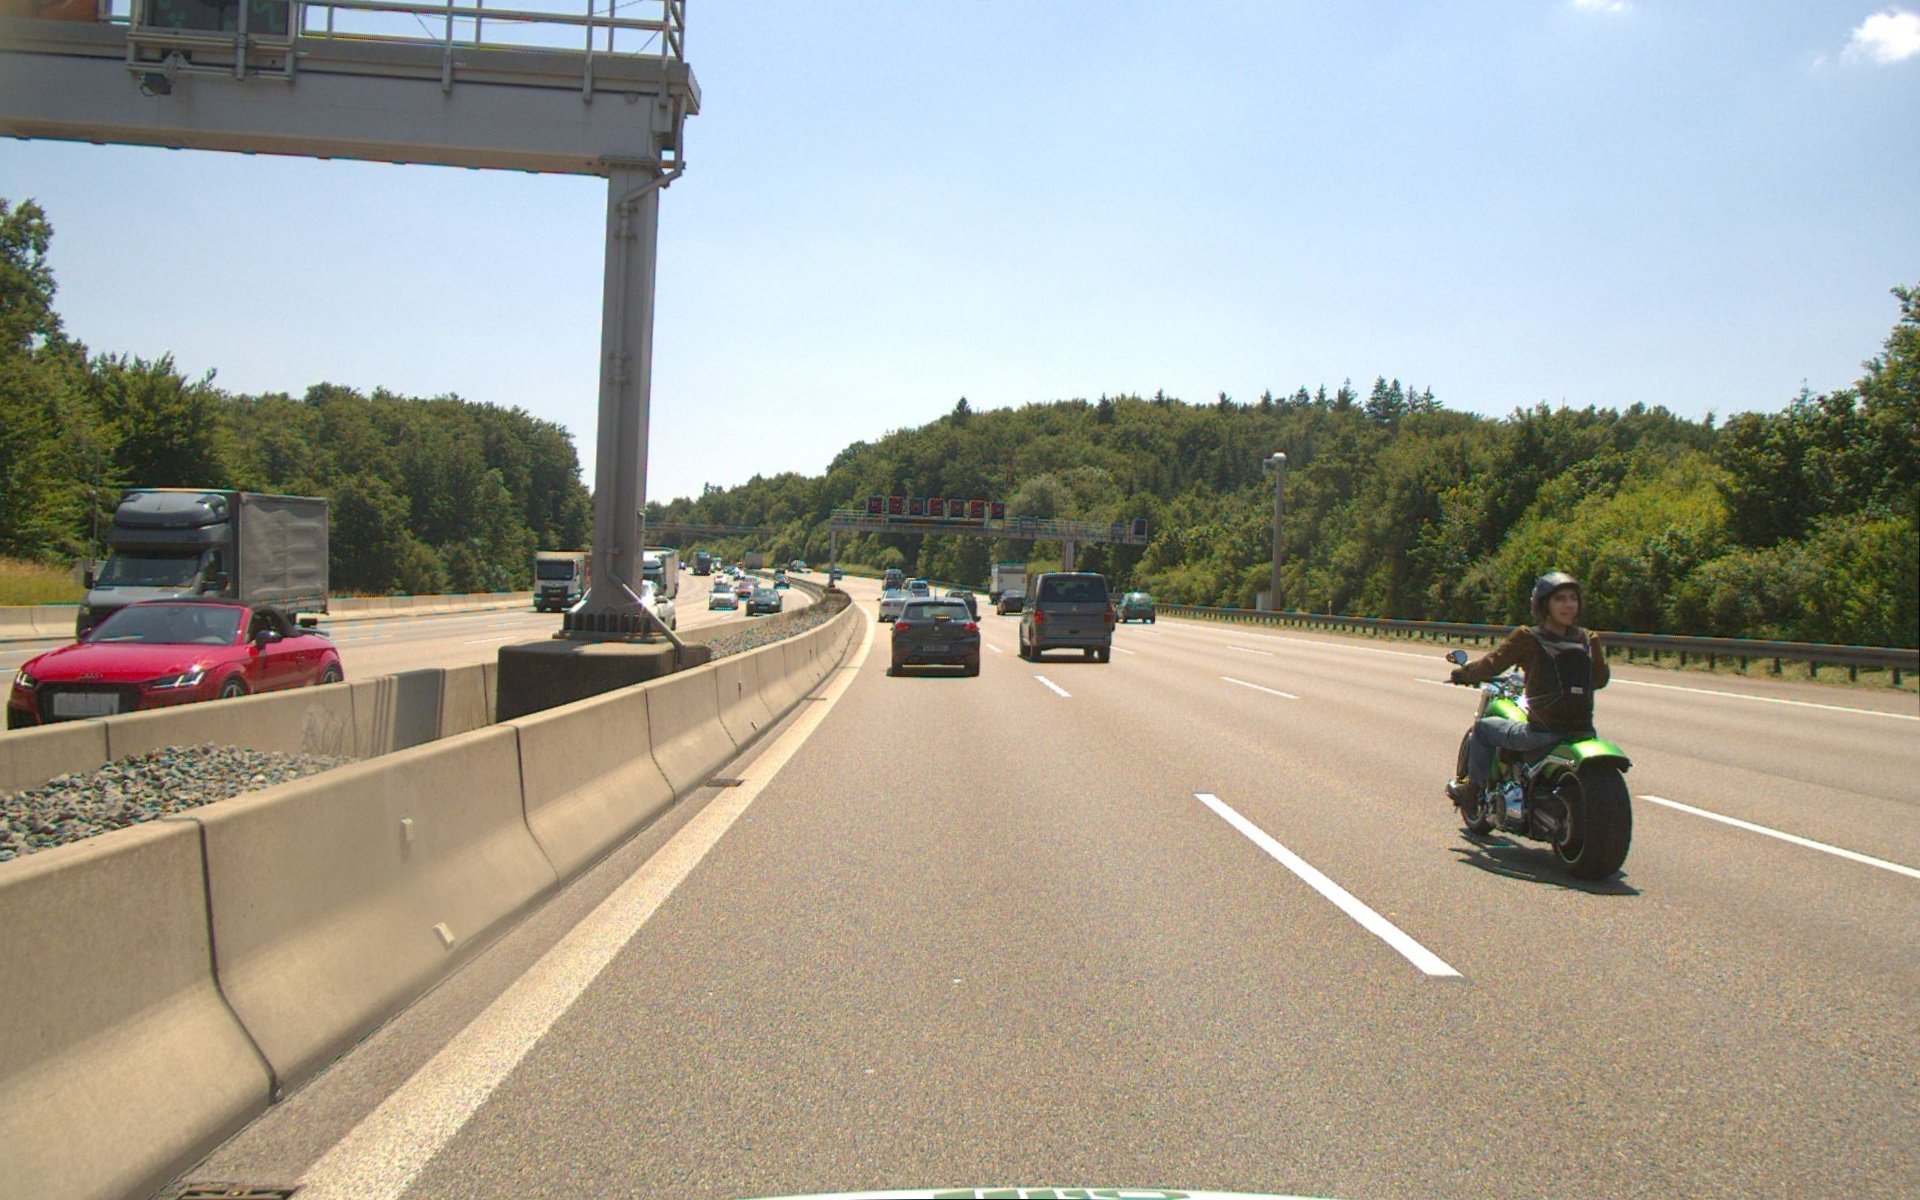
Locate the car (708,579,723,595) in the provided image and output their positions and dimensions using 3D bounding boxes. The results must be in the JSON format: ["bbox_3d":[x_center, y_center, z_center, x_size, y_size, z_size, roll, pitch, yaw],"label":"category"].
[{"bbox_3d":[-32.135,-1.686,217.296,1.956,2.049,3.993,0,0,-8],"label":"car"}]

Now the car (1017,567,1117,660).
[{"bbox_3d":[2.474,0.291,39.349,1.923,2.069,5.082,0,0,-1],"label":"car"}]

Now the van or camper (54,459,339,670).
[{"bbox_3d":[-15.049,-0.636,33.321,2.381,3.742,7.755,0,0,-2],"label":"van or camper"}]

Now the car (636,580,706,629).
[{"bbox_3d":[-10.833,0.166,62.283,1.953,1.758,4.000,0,0,0],"label":"car"}]

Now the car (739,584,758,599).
[{"bbox_3d":[-22.974,-0.939,179.773,1.726,1.547,4.358,1,-1,-4],"label":"car"}]

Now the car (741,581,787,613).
[{"bbox_3d":[-10.342,-0.168,87.583,1.953,1.618,4.843,0,0,-1],"label":"car"}]

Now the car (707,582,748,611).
[{"bbox_3d":[-14.543,-0.212,103.588,2.242,1.758,5.026,0,0,-5],"label":"car"}]

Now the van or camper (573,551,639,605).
[{"bbox_3d":[-22.559,-1.322,105.913,2.709,3.180,8.090,1,-1,-2],"label":"van or camper"}]

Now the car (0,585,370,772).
[{"bbox_3d":[-7.486,0.613,15.641,2.006,1.467,5.220,0,0,-1],"label":"car"}]

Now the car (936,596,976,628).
[{"bbox_3d":[-0.230,0.650,91.301,1.954,1.758,4.146,0,0,-4],"label":"car"}]

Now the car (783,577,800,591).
[{"bbox_3d":[-20.678,-1.950,203.354,1.954,1.697,4.430,0,1,-5],"label":"car"}]

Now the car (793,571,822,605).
[{"bbox_3d":[-12.030,-0.929,130.926,1.953,2.620,4.167,1,-1,-2],"label":"car"}]

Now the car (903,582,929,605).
[{"bbox_3d":[-3.633,-0.595,137.049,2.061,1.774,4.686,1,1,-3],"label":"car"}]

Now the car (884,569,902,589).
[{"bbox_3d":[-8.327,-2.588,206.285,2.219,2.412,4.700,0,0,-2],"label":"car"}]

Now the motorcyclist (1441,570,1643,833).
[{"bbox_3d":[3.360,0.552,9.642,0.835,1.452,1.023,0,0,2],"label":"motorcyclist"}]

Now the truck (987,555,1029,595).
[{"bbox_3d":[3.923,-2.103,136.322,2.926,3.221,7.572,1,1,-2],"label":"truck"}]

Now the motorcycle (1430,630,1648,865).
[{"bbox_3d":[3.393,0.799,9.922,0.524,1.155,2.437,0,1,2],"label":"motorcycle"}]

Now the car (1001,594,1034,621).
[{"bbox_3d":[3.364,0.406,97.495,1.631,1.433,4.903,1,2,-1],"label":"car"}]

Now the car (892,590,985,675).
[{"bbox_3d":[-0.424,0.577,32.128,1.673,1.458,4.000,1,1,-1],"label":"car"}]

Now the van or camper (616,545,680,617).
[{"bbox_3d":[-18.111,-1.033,96.400,2.775,3.906,8.205,1,-1,-5],"label":"van or camper"}]

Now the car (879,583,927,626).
[{"bbox_3d":[-2.640,0.243,77.386,1.970,1.878,4.000,0,-2,2],"label":"car"}]

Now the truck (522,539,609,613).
[{"bbox_3d":[-21.699,-1.202,91.578,2.812,3.762,9.236,1,-1,-2],"label":"truck"}]

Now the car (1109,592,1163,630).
[{"bbox_3d":[8.499,0.535,80.180,1.954,1.758,3.996,0,0,-4],"label":"car"}]

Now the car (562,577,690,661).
[{"bbox_3d":[-7.689,0.408,38.560,1.948,1.767,5.343,1,0,-1],"label":"car"}]

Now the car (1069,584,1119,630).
[{"bbox_3d":[5.346,0.256,66.154,1.811,1.758,4.001,0,0,2],"label":"car"}]
